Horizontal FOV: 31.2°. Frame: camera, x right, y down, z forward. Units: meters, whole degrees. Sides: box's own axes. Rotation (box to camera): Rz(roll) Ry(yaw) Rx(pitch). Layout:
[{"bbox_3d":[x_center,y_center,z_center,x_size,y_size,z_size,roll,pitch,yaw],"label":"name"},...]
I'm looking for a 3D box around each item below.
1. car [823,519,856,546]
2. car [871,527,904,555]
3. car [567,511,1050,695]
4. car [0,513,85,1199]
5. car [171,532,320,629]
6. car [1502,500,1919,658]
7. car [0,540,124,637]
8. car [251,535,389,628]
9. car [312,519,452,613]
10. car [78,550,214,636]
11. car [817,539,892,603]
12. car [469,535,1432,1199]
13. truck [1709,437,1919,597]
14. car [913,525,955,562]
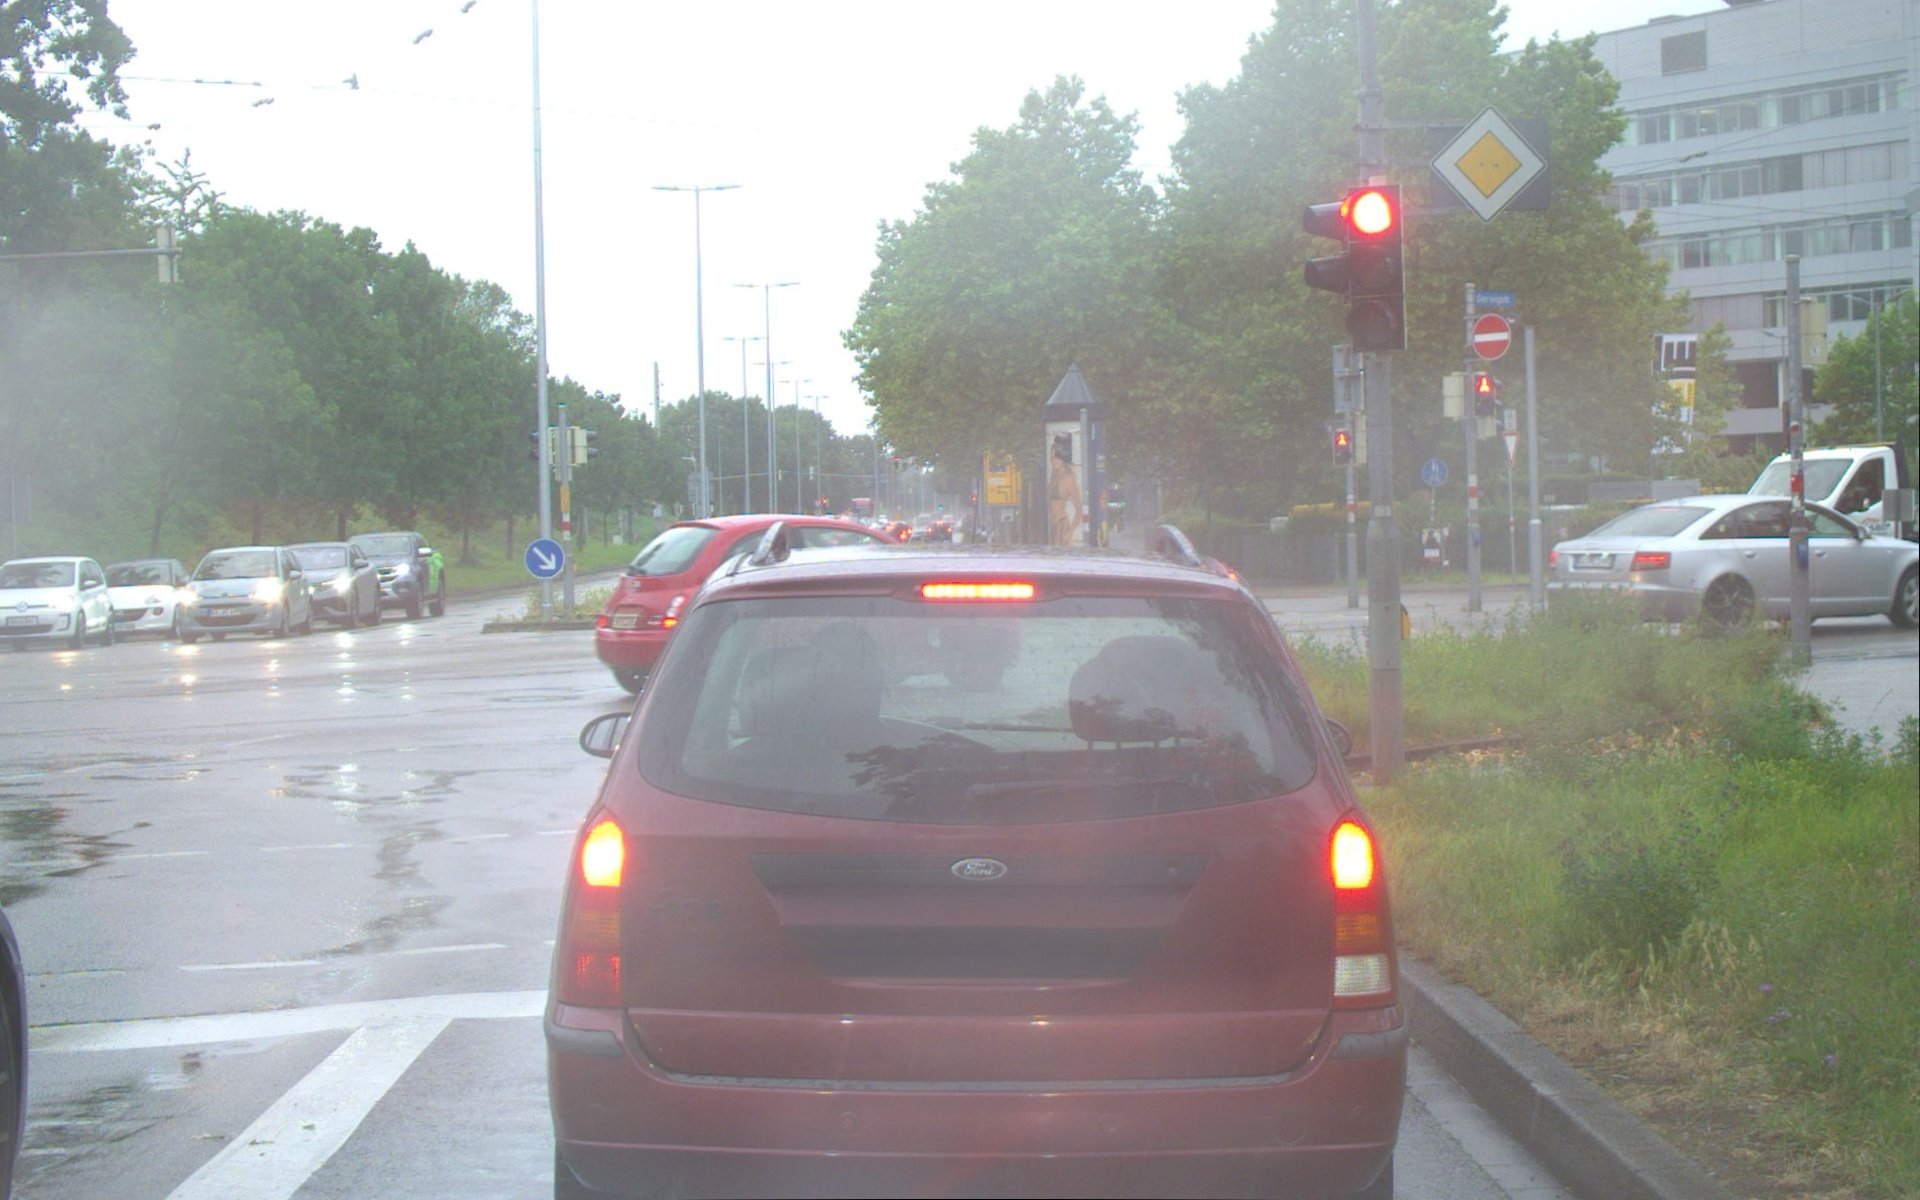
[{"bbox_3d":[-7.072,-3.990,202.340,1.698,1.522,3.846,-1,1,1],"label":"car"},{"bbox_3d":[-4.046,-3.335,192.862,1.698,1.522,3.846,-1,1,1],"label":"car"},{"bbox_3d":[-1.281,-0.011,29.506,3.804,1.485,1.678,-1,1,-32],"label":"car"},{"bbox_3d":[-2.685,0.647,4.875,1.769,1.568,4.822,1,1,-2],"label":"car"},{"bbox_3d":[-11.632,-0.345,56.165,1.638,1.468,3.965,-2,1,-1],"label":"car"},{"bbox_3d":[8.049,-0.242,35.371,4.814,1.485,1.927,-2,1,-33],"label":"car"},{"bbox_3d":[-14.631,-0.201,55.122,1.638,1.447,3.788,-2,1,-3],"label":"car"},{"bbox_3d":[-11.735,-0.354,63.327,1.762,1.580,4.814,-2,1,-2],"label":"car"},{"bbox_3d":[-11.953,-0.735,71.420,2.065,1.813,5.542,-2,1,-2],"label":"car"},{"bbox_3d":[-14.509,-0.152,61.450,1.590,1.399,3.823,-2,1,-2],"label":"car"},{"bbox_3d":[-3.088,-0.854,99.813,1.993,1.784,4.001,1,1,-4],"label":"car"},{"bbox_3d":[-0.068,0.604,7.782,1.642,1.460,3.733,1,1,-2],"label":"car"},{"bbox_3d":[15.032,-1.338,53.973,6.847,2.357,2.482,-2,1,-37],"label":"truck"},{"bbox_3d":[-1.095,-2.432,146.892,1.671,1.522,3.846,-1,1,1],"label":"car"}]
